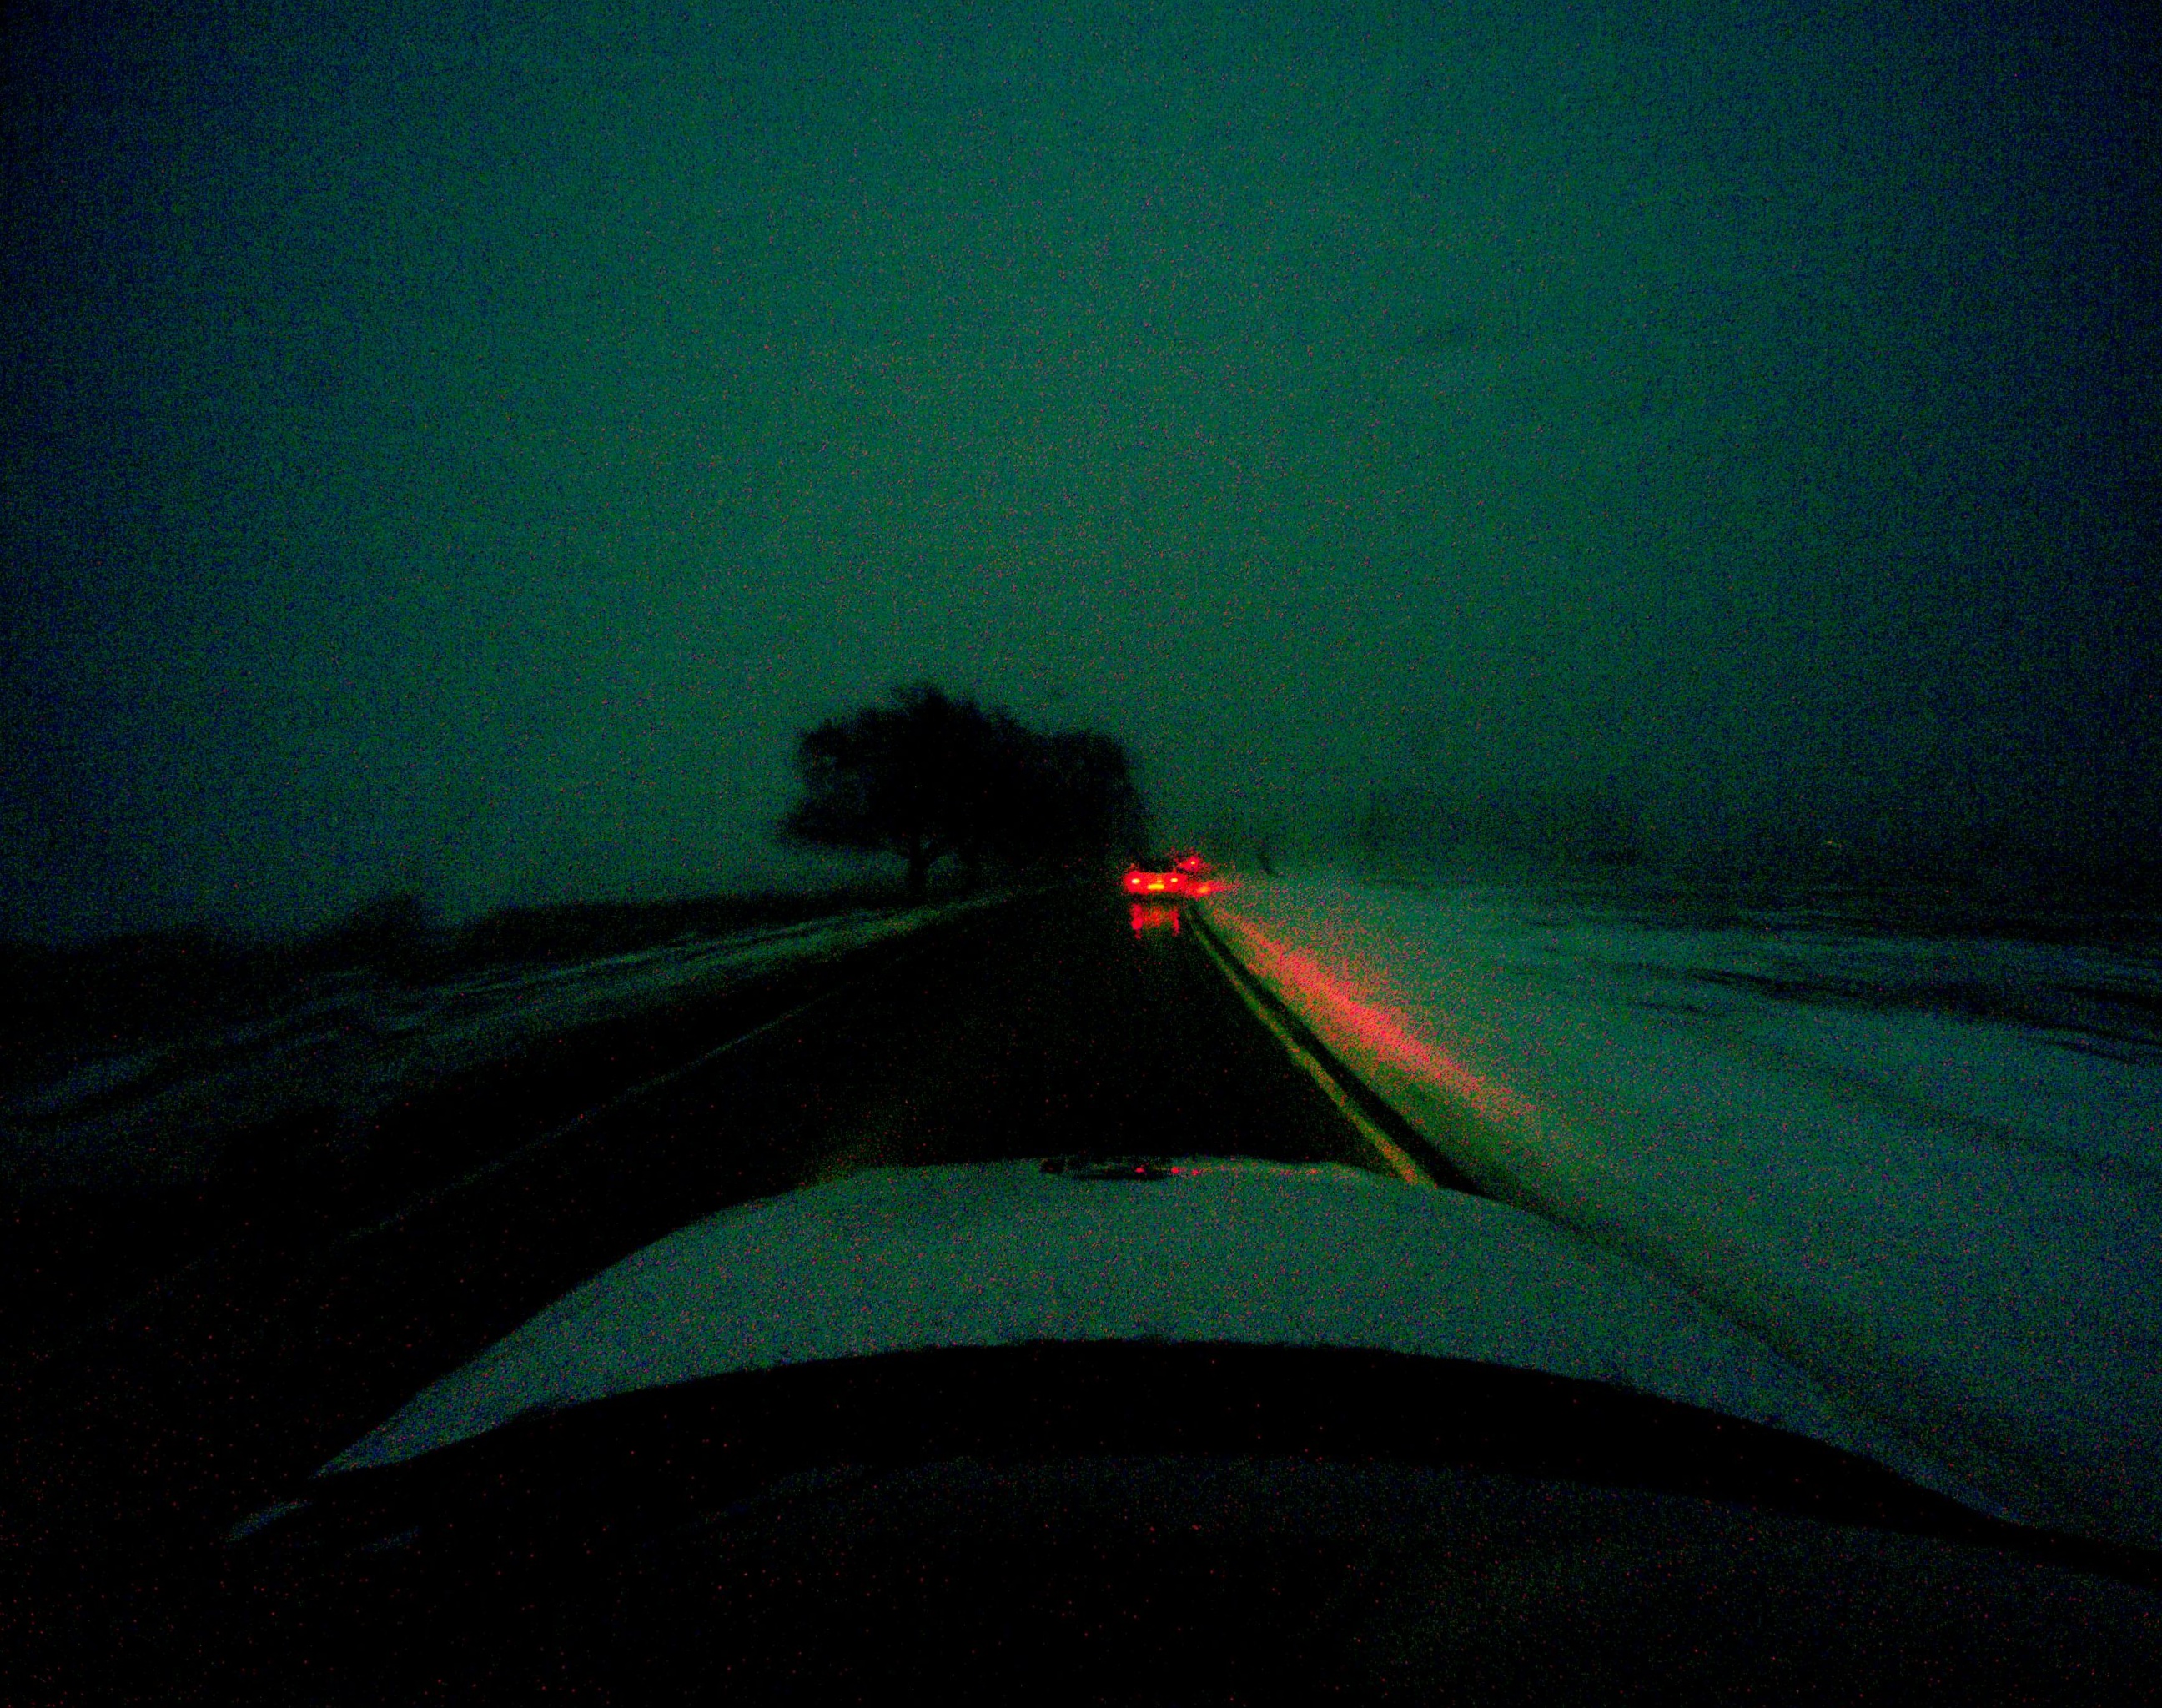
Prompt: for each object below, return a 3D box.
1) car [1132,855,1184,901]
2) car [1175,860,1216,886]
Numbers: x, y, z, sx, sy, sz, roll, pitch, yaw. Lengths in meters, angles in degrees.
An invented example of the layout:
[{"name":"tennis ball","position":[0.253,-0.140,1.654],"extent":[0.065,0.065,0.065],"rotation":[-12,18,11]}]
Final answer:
[{"name":"car","position":[2.635,0.790,28.566],"extent":[1.699,1.463,4.004],"rotation":[0,0,4]},{"name":"car","position":[7.208,1.193,50.930],"extent":[1.464,1.508,3.072],"rotation":[-2,-1,30]}]
